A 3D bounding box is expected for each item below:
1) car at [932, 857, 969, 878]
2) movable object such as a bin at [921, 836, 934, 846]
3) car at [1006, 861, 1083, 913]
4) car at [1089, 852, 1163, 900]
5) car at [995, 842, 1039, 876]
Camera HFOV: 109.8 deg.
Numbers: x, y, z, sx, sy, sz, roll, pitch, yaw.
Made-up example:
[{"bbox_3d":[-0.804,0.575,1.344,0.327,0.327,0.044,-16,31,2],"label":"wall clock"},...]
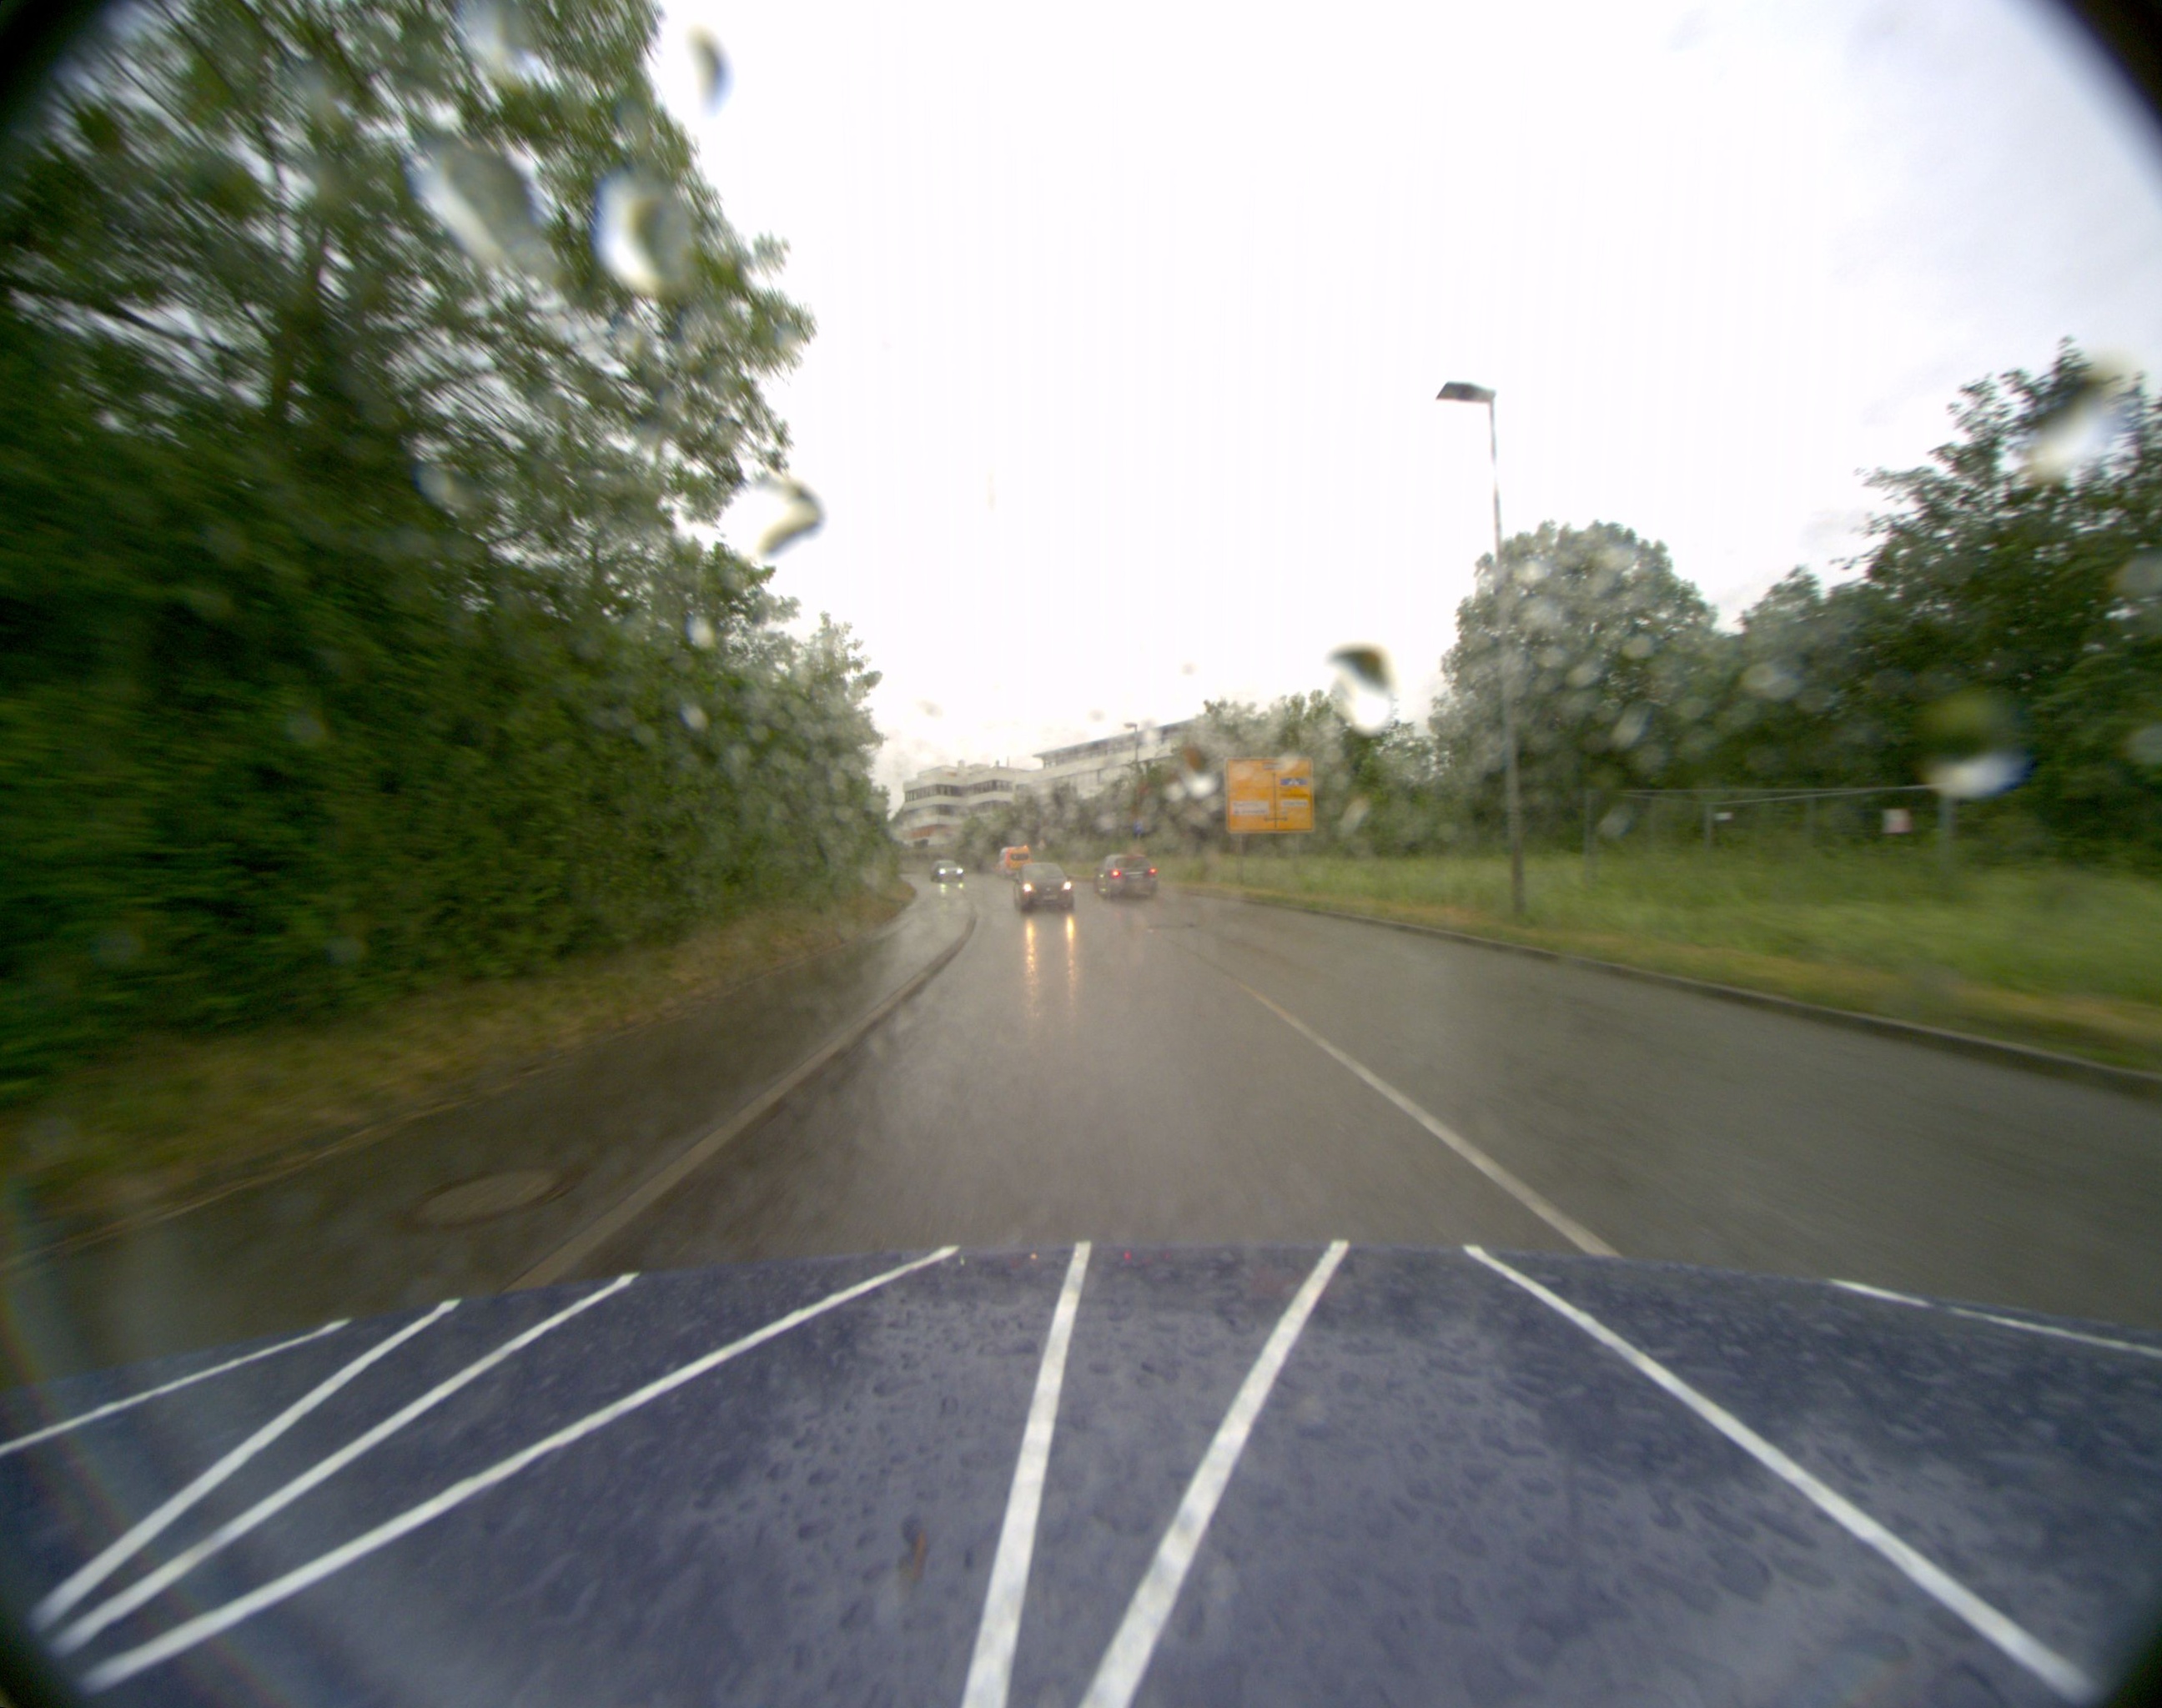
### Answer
[{"bbox_3d":[-9.665,1.026,55.984,1.877,1.432,4.370,2,-2,-21],"label":"car"},{"bbox_3d":[-20.636,-1.693,102.137,1.247,1.338,1.214,0,0,-34],"label":"movable object such as a bin"},{"bbox_3d":[-1.319,1.021,25.279,1.875,1.433,4.373,-4,1,-11],"label":"car"},{"bbox_3d":[1.620,0.788,28.919,1.870,1.543,4.262,-4,0,-9],"label":"car"},{"bbox_3d":[-4.955,0.386,58.077,2.052,2.404,5.447,-3,1,-17],"label":"car"}]
